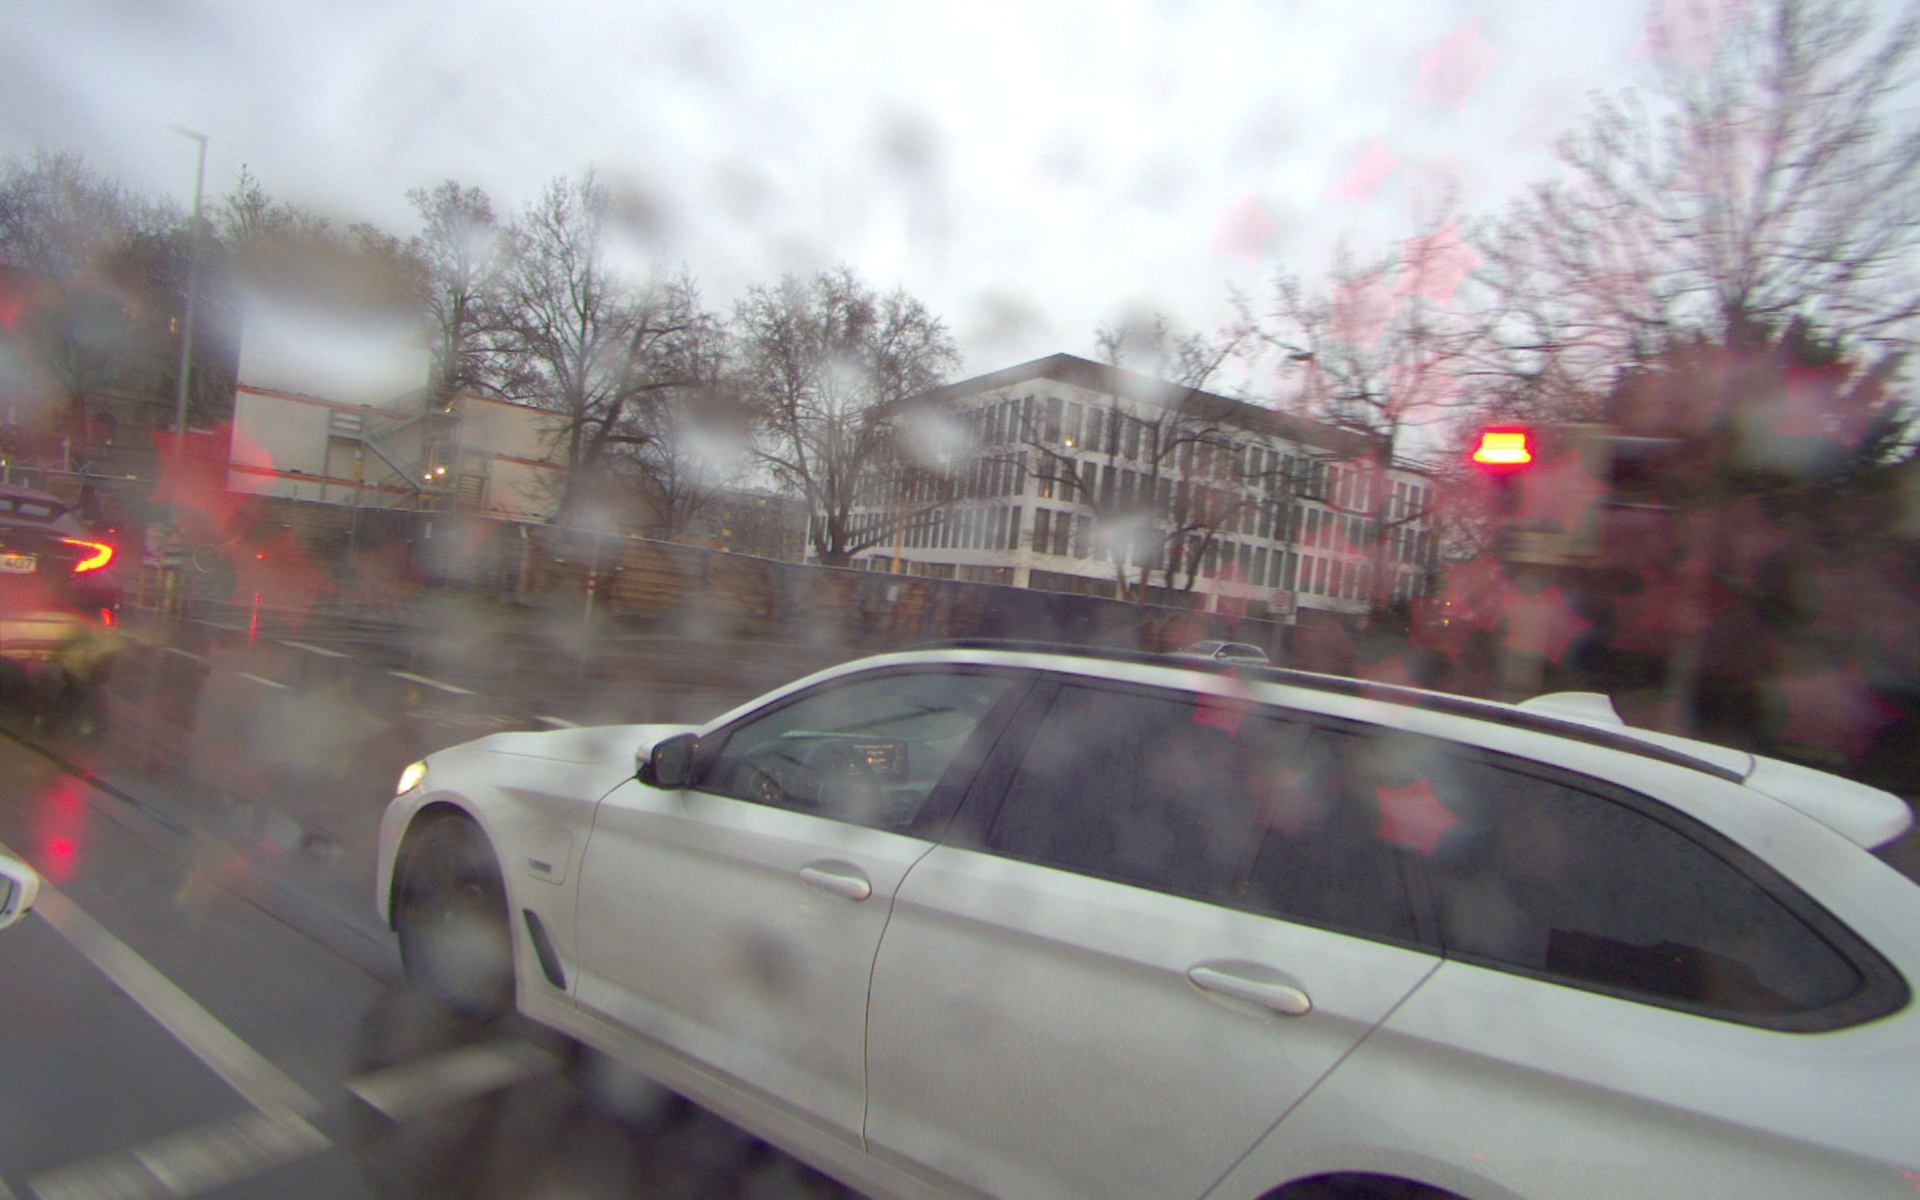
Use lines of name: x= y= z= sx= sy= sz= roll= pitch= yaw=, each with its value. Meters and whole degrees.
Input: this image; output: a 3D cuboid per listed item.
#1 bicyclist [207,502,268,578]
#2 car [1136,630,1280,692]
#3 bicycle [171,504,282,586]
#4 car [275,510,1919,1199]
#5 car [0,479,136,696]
bicyclist: x=-17.461 y=-1.430 z=24.325 sx=0.802 sy=1.700 sz=0.697 roll=6 pitch=1 yaw=11
car: x=7.905 y=1.958 z=31.930 sx=4.476 sy=1.507 sz=1.864 roll=7 pitch=0 yaw=-36
bicycle: x=-17.757 y=-1.331 z=24.372 sx=2.204 sy=1.676 sz=0.691 roll=7 pitch=-1 yaw=10
car: x=0.096 y=0.711 z=3.062 sx=4.887 sy=1.519 sz=1.789 roll=6 pitch=-2 yaw=34
car: x=-8.386 y=-0.262 z=8.041 sx=3.938 sy=1.496 sz=1.724 roll=6 pitch=-2 yaw=36
